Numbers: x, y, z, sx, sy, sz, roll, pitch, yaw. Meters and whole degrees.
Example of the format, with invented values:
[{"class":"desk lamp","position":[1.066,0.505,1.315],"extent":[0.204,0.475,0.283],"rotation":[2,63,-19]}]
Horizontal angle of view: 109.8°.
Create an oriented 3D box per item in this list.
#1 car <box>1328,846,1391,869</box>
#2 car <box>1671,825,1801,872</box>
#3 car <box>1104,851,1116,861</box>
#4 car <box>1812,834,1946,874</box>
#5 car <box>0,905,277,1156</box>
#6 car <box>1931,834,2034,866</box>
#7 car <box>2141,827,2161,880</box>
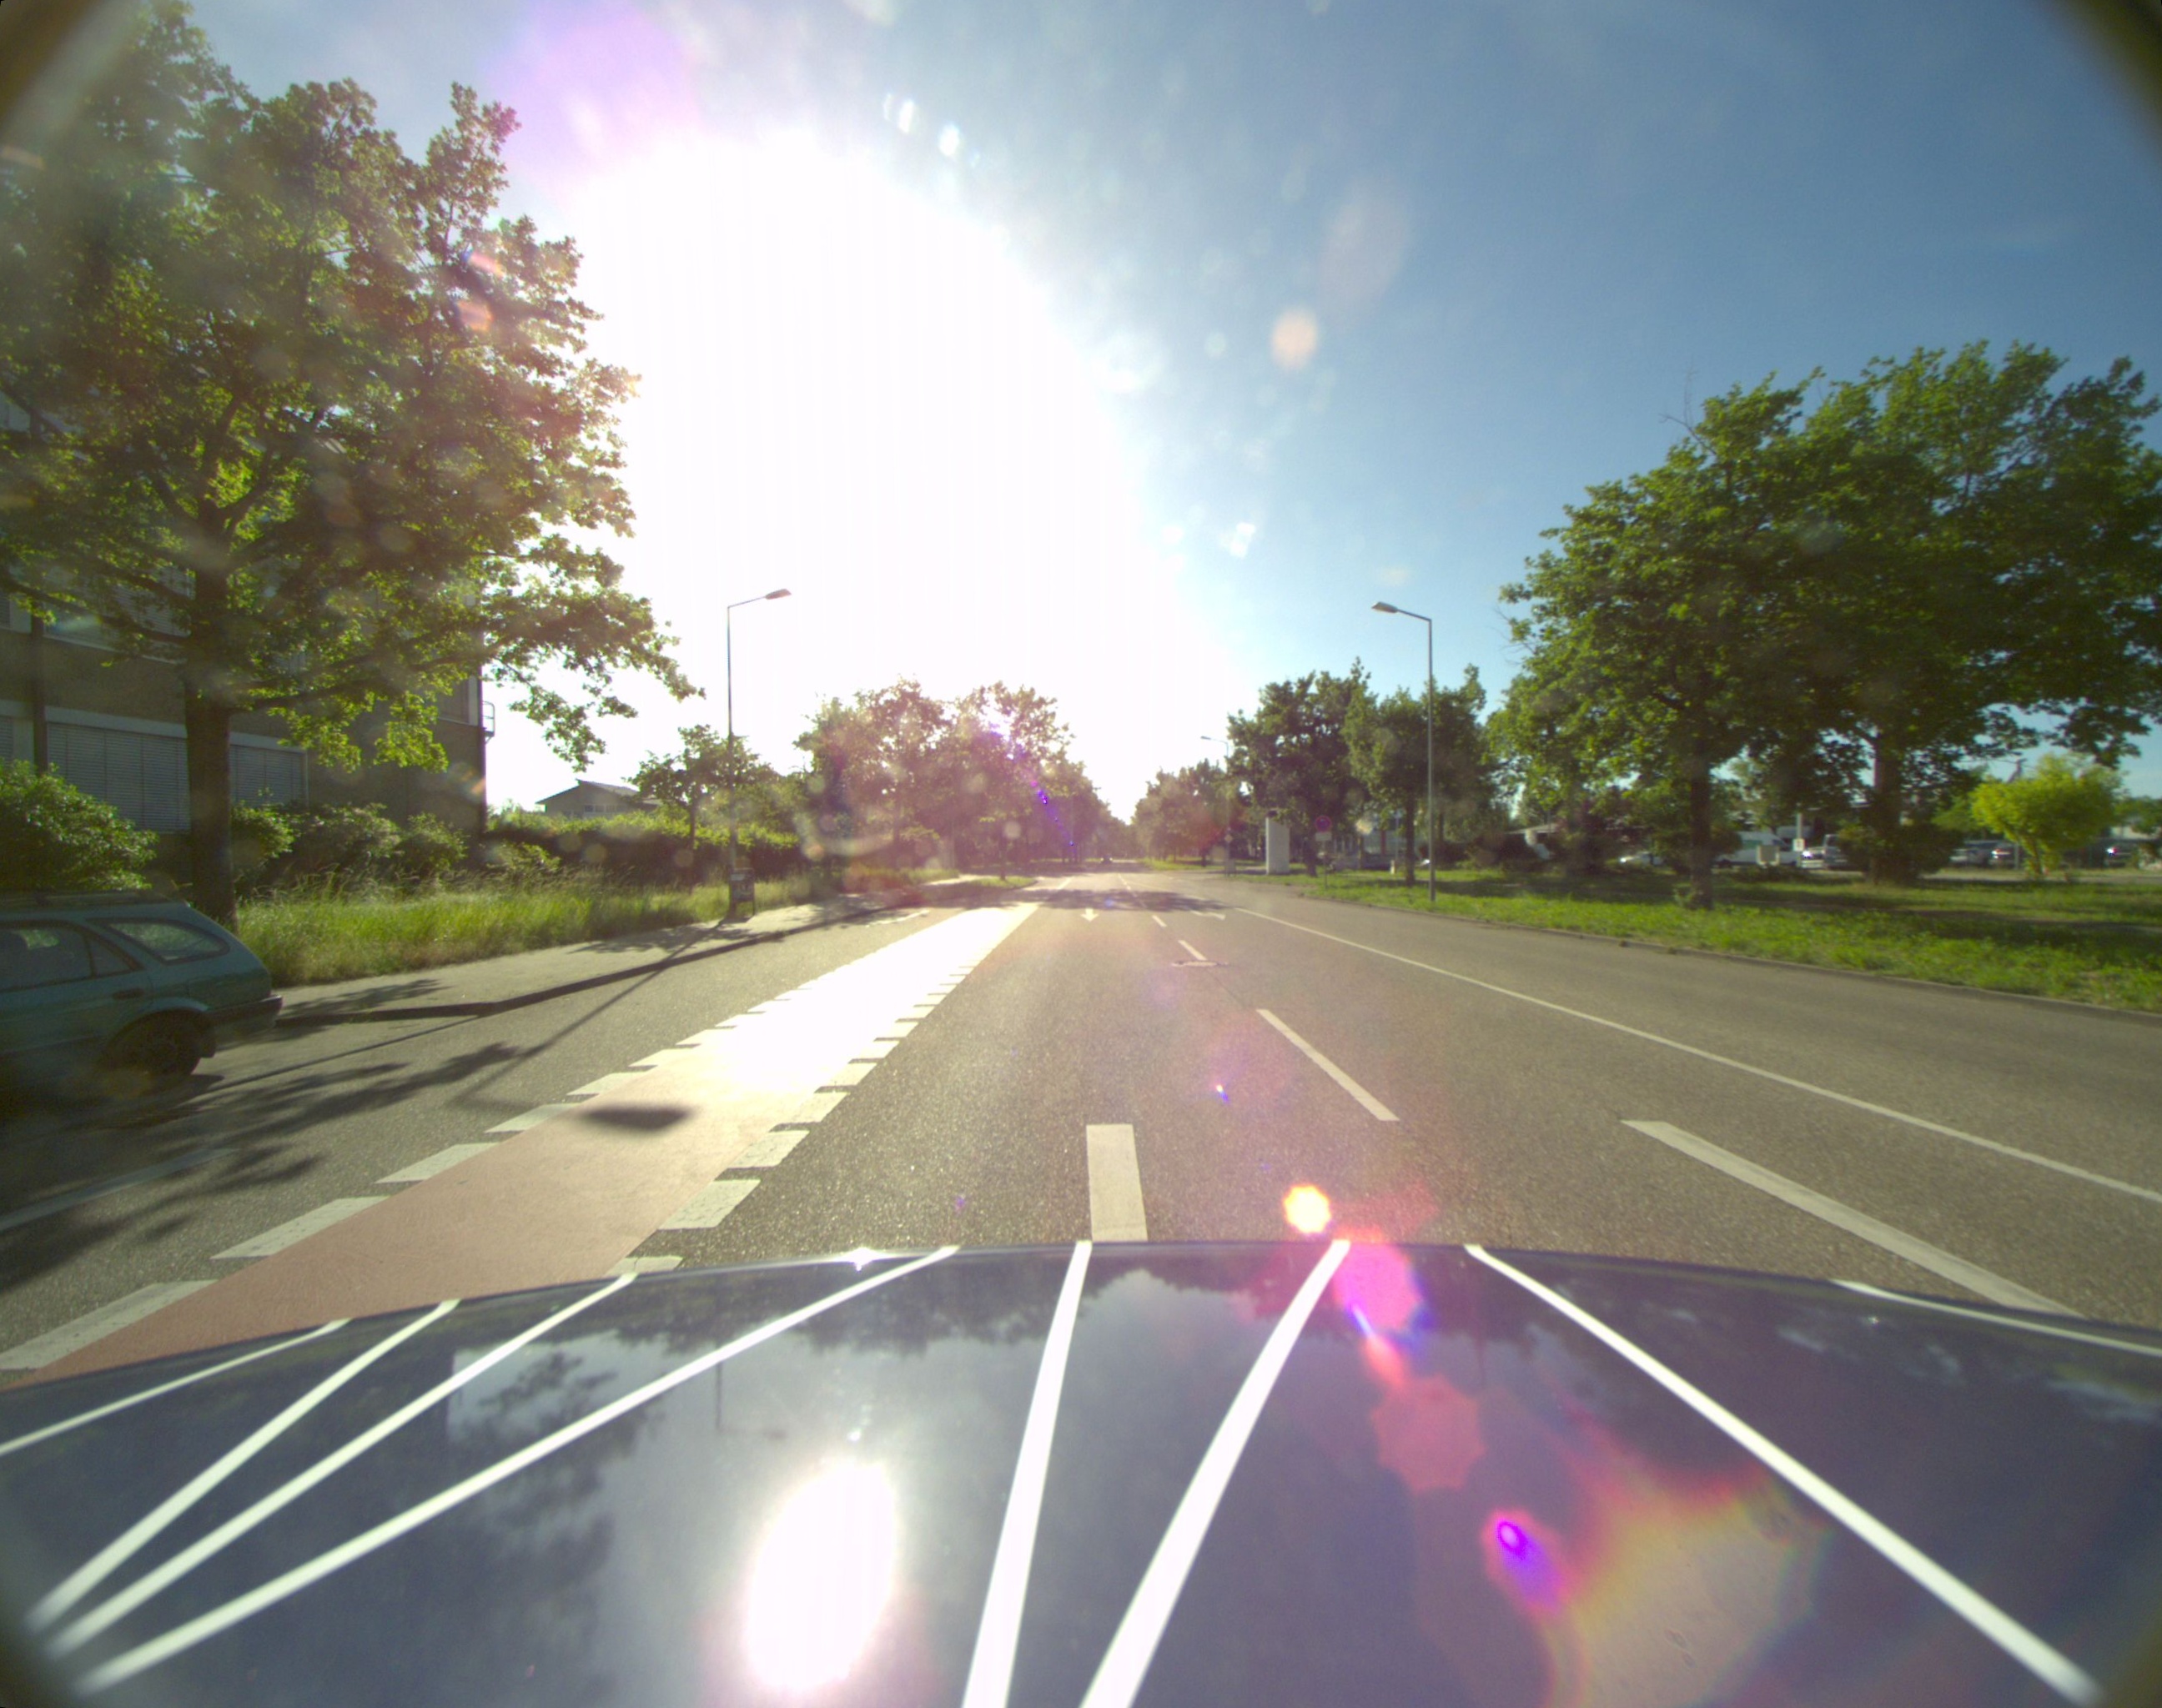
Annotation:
[{"class":"car","position":[23.928,0.292,65.371],"extent":[4.637,1.822,2.000],"rotation":[-2,1,0]},{"class":"car","position":[39.898,-0.344,46.397],"extent":[6.023,2.540,2.409],"rotation":[-2,1,-4]},{"class":"car","position":[4.340,0.327,113.917],"extent":[1.653,1.460,3.941],"rotation":[-1,0,2]},{"class":"car","position":[40.059,-0.010,38.220],"extent":[4.642,1.771,1.990],"rotation":[-2,1,0]},{"class":"car","position":[-7.529,1.133,4.222],"extent":[1.706,1.460,4.141],"rotation":[-1,-1,0]},{"class":"car","position":[52.086,-0.214,43.959],"extent":[3.860,1.661,1.762],"rotation":[-2,1,0]},{"class":"car","position":[33.885,-0.089,22.040],"extent":[3.817,1.562,1.736],"rotation":[-2,-1,0]}]
